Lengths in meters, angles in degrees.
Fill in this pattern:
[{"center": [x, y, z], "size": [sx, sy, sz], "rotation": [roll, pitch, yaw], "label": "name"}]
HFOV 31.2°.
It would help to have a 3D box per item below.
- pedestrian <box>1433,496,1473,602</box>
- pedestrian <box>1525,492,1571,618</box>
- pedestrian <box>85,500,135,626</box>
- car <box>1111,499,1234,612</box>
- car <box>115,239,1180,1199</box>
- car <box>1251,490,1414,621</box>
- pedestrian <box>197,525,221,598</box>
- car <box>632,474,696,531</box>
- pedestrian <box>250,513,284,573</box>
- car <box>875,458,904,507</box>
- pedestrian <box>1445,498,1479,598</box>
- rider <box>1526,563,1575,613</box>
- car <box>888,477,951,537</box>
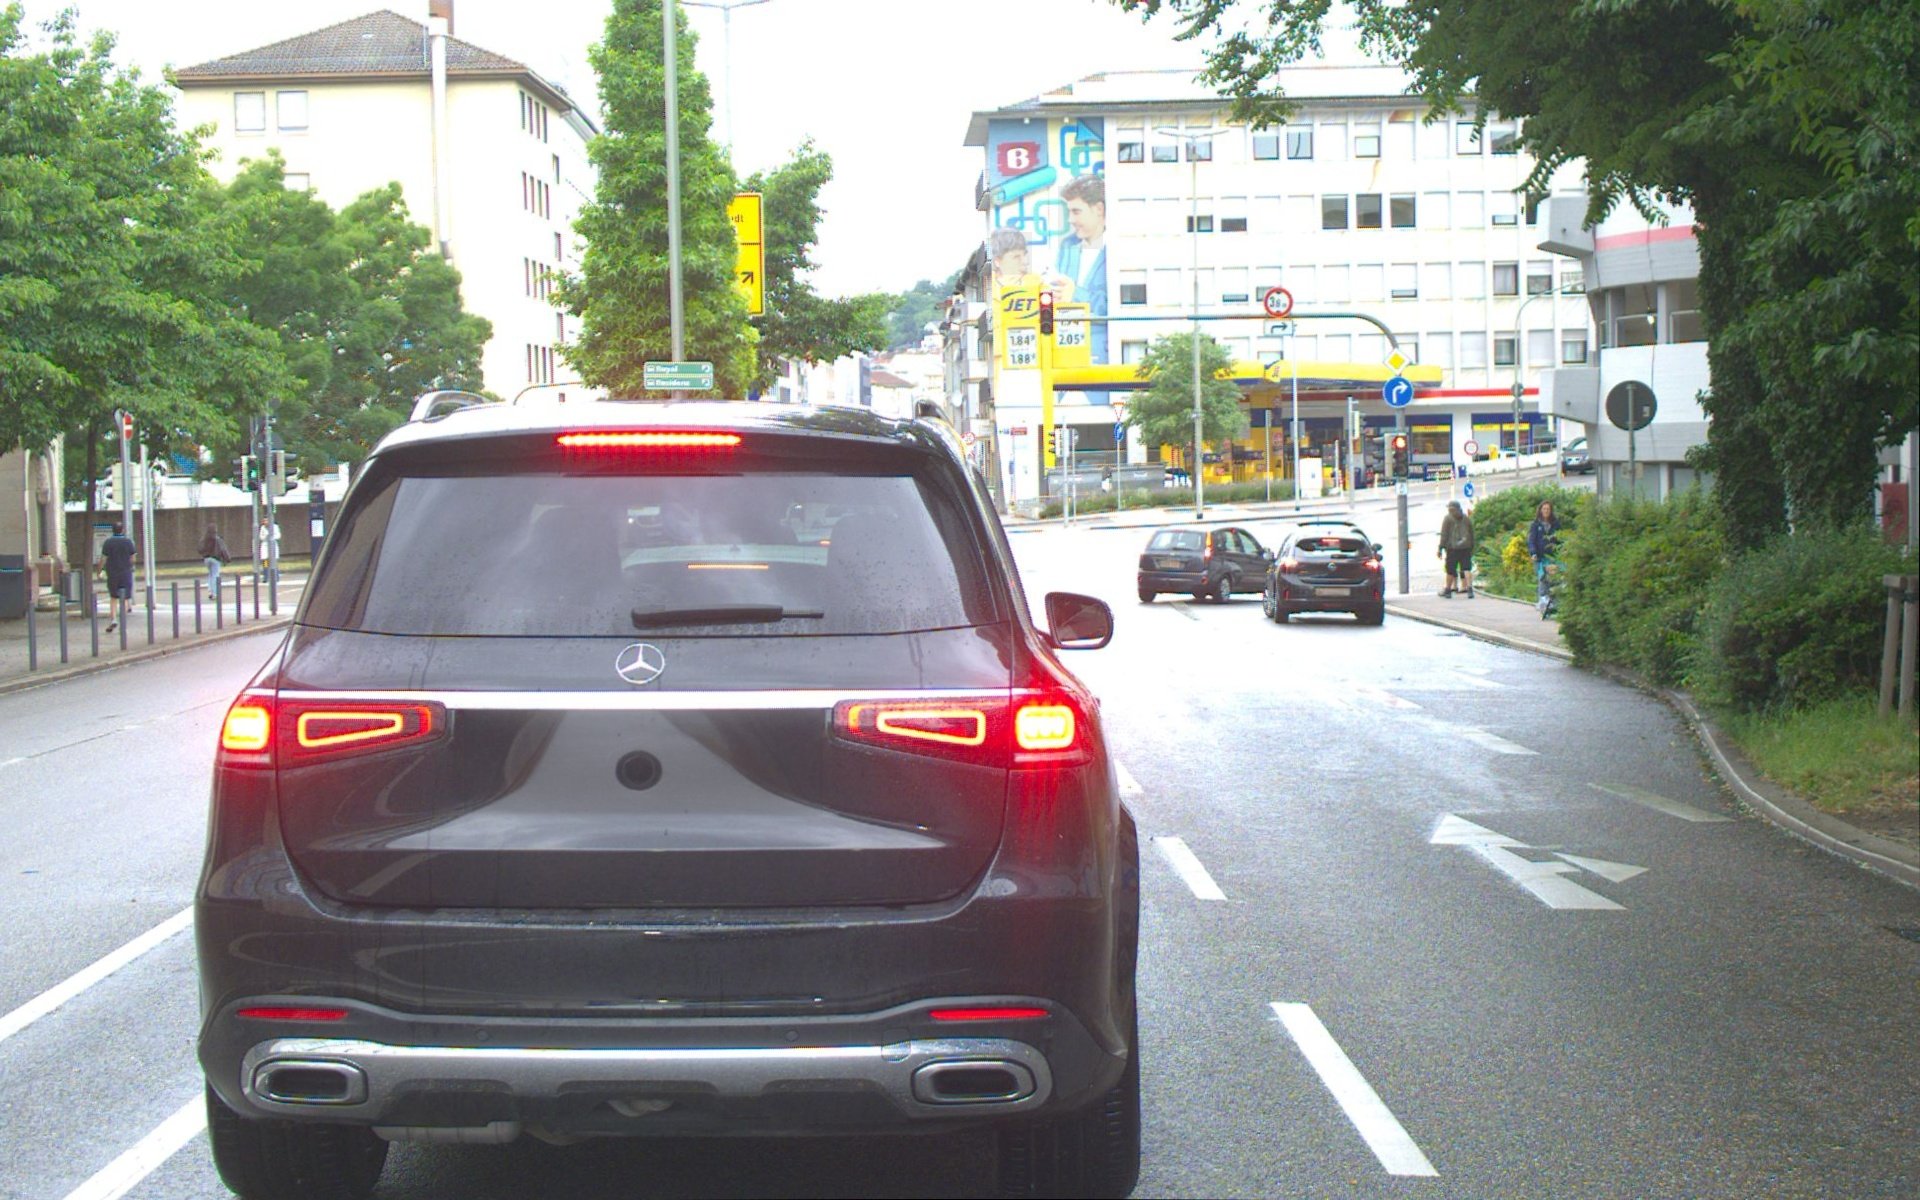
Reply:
[{"center": [9.061, -0.941, 63.199], "size": [0.620, 1.929, 0.610], "rotation": [1, 0, 1], "label": "pedestrian"}, {"center": [9.010, -0.683, 52.688], "size": [0.662, 1.911, 0.728], "rotation": [1, 0, 10], "label": "pedestrian"}, {"center": [-13.709, -0.595, 55.482], "size": [0.587, 2.007, 0.749], "rotation": [2, 0, -2], "label": "pedestrian"}, {"center": [3.910, -0.819, 63.943], "size": [1.993, 2.007, 4.000], "rotation": [1, 0, 0], "label": "car"}, {"center": [-0.660, 0.318, 8.541], "size": [1.993, 2.007, 4.000], "rotation": [1, 0, -2], "label": "car"}, {"center": [5.871, -0.735, 54.620], "size": [1.993, 2.007, 4.001], "rotation": [0, 1, -2], "label": "car"}, {"center": [-16.923, -0.860, 77.480], "size": [0.399, 1.639, 0.567], "rotation": [1, 0, -1], "label": "pedestrian"}, {"center": [-10.462, -3.435, 121.701], "size": [1.993, 1.868, 5.142], "rotation": [1, 0, -2], "label": "car"}, {"center": [-17.078, -1.402, 84.703], "size": [0.711, 1.457, 0.598], "rotation": [1, 0, -2], "label": "pedestrian"}, {"center": [-4.930, -8.191, 239.230], "size": [1.993, 2.003, 4.008], "rotation": [1, 24, -2], "label": "car"}, {"center": [9.571, -0.988, 65.548], "size": [0.519, 1.904, 0.556], "rotation": [1, 0, -1], "label": "pedestrian"}, {"center": [8.924, -0.182, 51.954], "size": [0.694, 0.737, 0.632], "rotation": [1, 0, 7], "label": "rider"}, {"center": [-1.452, -3.259, 121.360], "size": [1.993, 2.007, 4.001], "rotation": [1, 0, -3], "label": "car"}]
